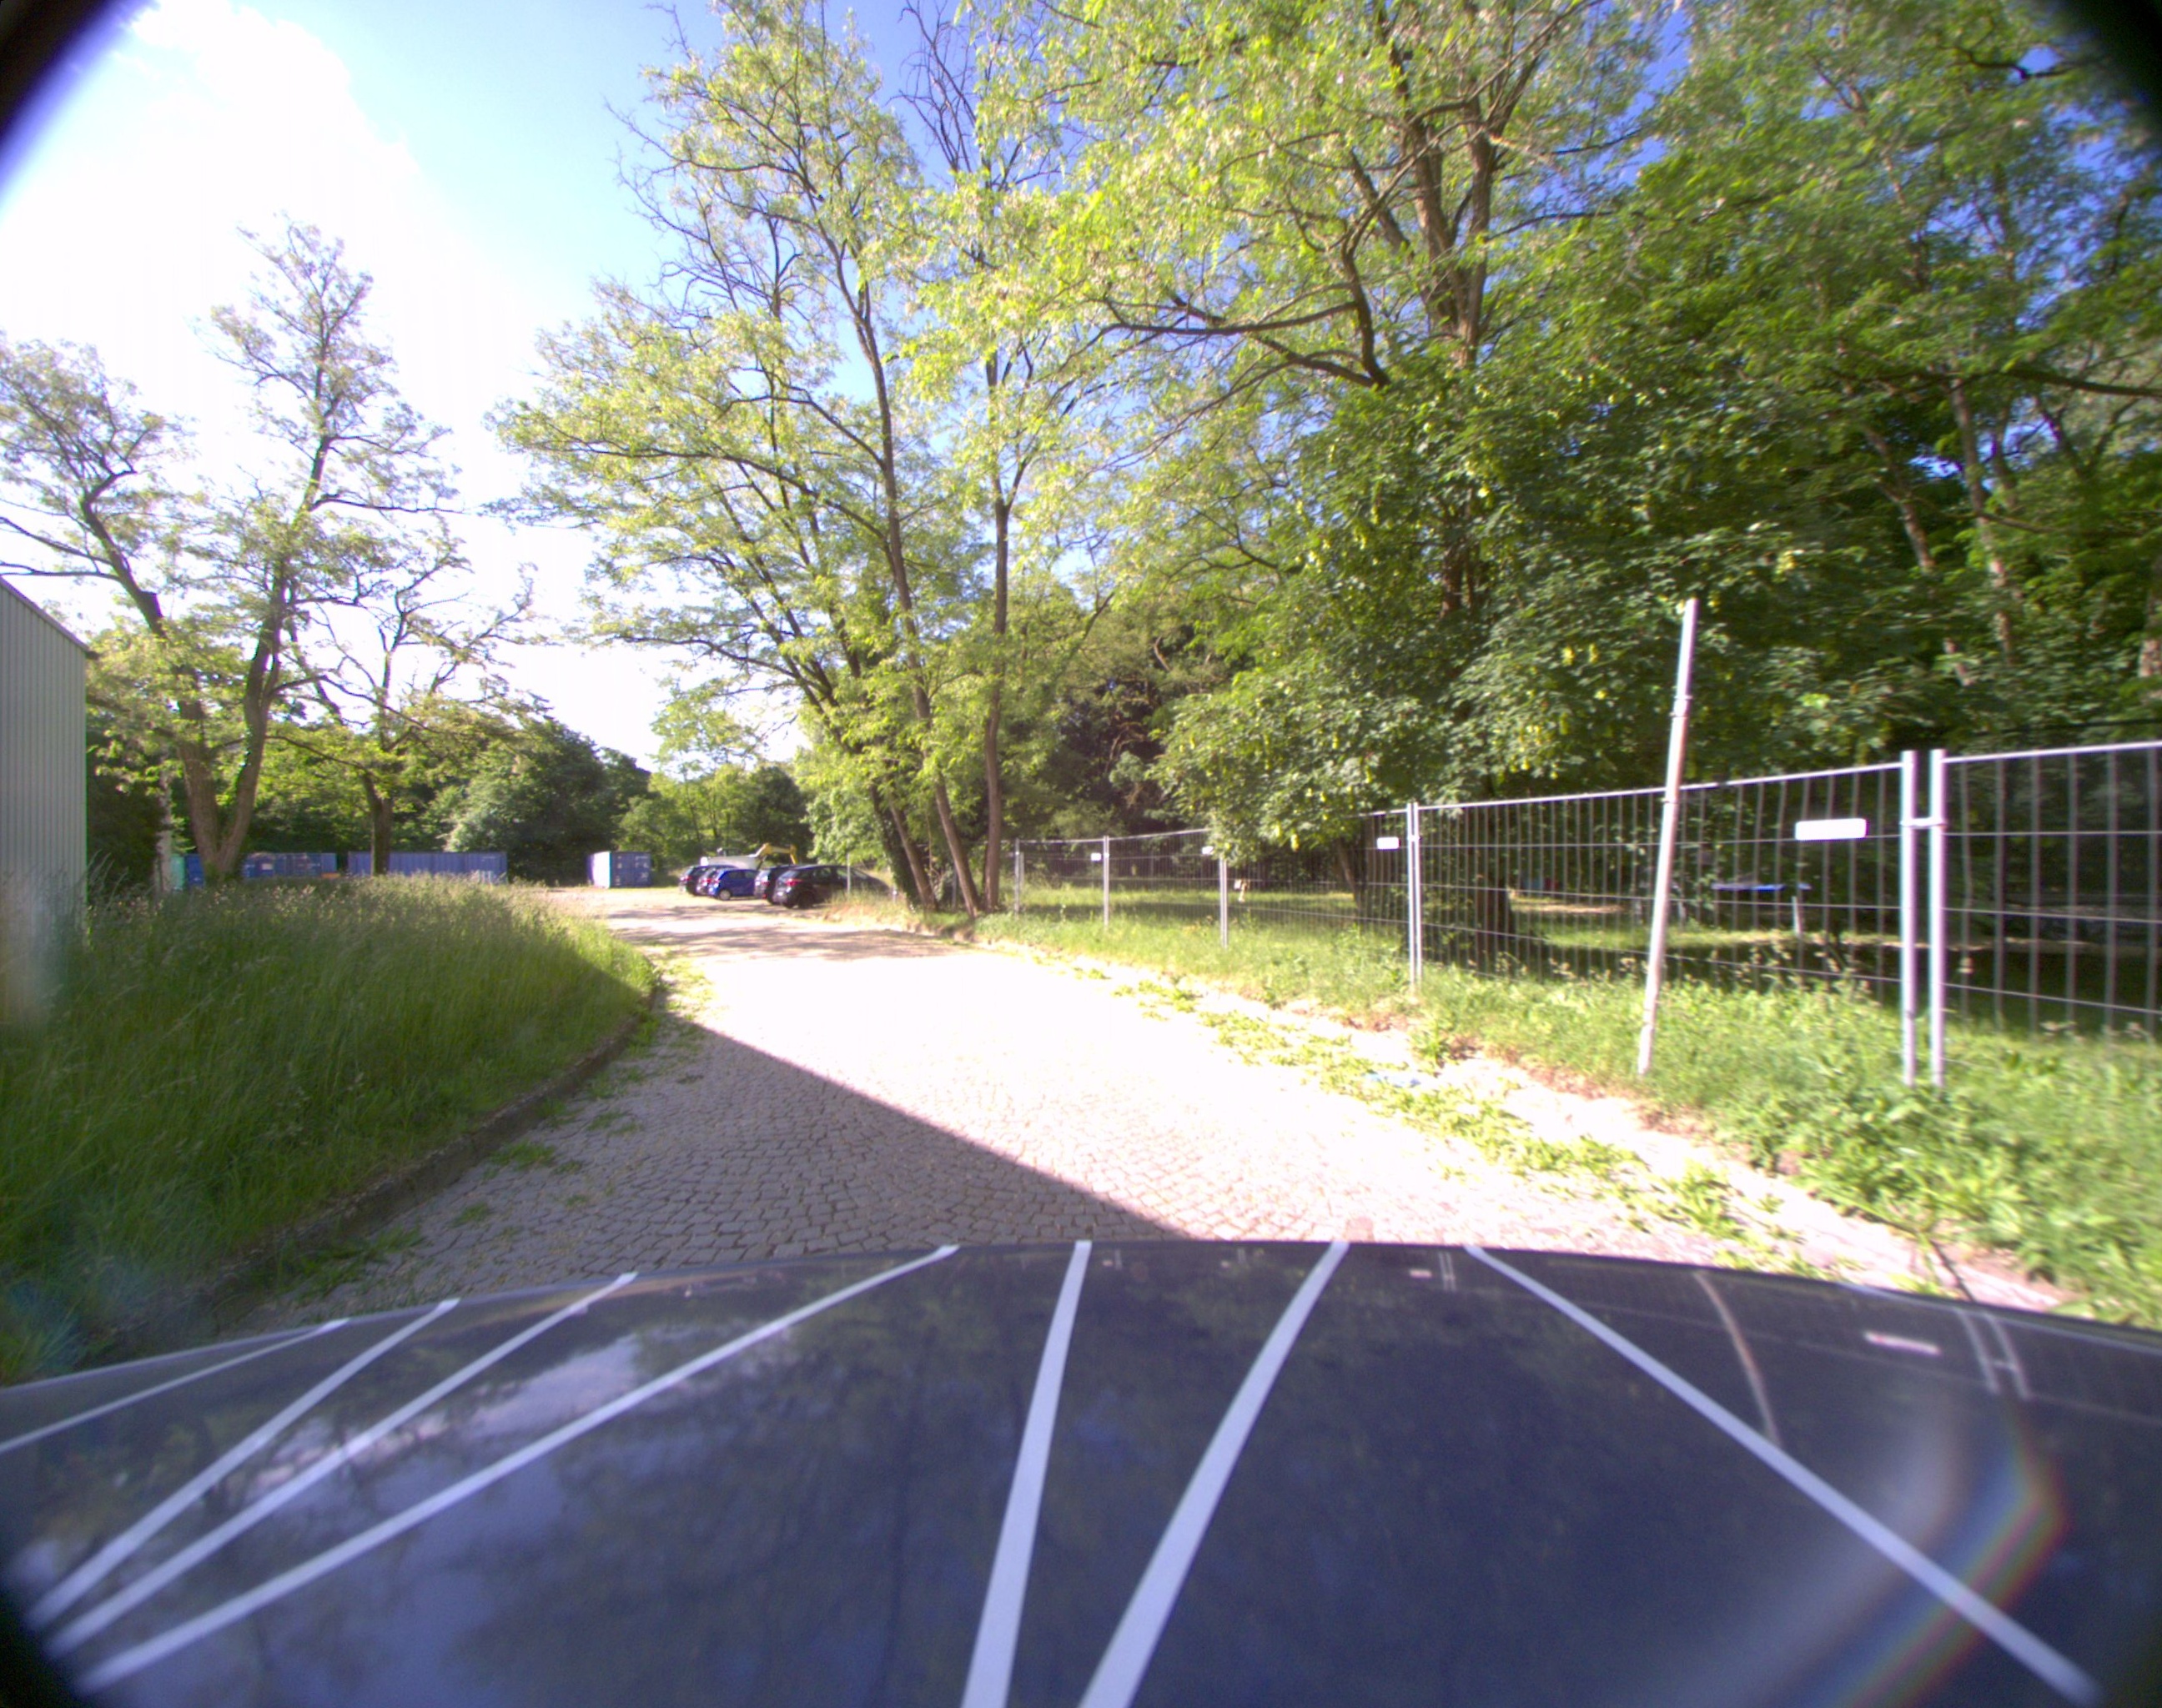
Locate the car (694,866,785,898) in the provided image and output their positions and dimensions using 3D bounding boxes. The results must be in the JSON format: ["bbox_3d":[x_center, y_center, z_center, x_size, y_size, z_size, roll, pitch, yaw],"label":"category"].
[{"bbox_3d":[-17.157,1.358,38.221,3.797,1.403,1.890,-2,1,-38],"label":"car"}]

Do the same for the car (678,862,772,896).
[{"bbox_3d":[-18.757,1.278,40.091,4.138,1.580,1.965,-2,1,-38],"label":"car"}]

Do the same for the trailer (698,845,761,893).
[{"bbox_3d":[-20.792,0.839,44.936,2.854,2.525,2.260,-5,3,-36],"label":"trailer"}]

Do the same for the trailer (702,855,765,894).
[{"bbox_3d":[-19.688,1.104,43.028,2.855,2.039,1.819,-2,1,-36],"label":"trailer"}]

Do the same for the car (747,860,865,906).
[{"bbox_3d":[-11.693,1.189,32.517,4.280,1.622,1.875,-4,3,-42],"label":"car"}]

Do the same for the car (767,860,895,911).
[{"bbox_3d":[-9.713,1.176,29.752,4.280,1.580,1.825,-5,2,-42],"label":"car"}]

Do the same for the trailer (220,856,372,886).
[{"bbox_3d":[-38.398,0.795,37.425,4.871,1.406,2.642,0,0,-38],"label":"trailer"}]

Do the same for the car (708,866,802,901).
[{"bbox_3d":[-15.497,1.357,36.178,3.796,1.450,1.781,-2,1,-37],"label":"car"}]
